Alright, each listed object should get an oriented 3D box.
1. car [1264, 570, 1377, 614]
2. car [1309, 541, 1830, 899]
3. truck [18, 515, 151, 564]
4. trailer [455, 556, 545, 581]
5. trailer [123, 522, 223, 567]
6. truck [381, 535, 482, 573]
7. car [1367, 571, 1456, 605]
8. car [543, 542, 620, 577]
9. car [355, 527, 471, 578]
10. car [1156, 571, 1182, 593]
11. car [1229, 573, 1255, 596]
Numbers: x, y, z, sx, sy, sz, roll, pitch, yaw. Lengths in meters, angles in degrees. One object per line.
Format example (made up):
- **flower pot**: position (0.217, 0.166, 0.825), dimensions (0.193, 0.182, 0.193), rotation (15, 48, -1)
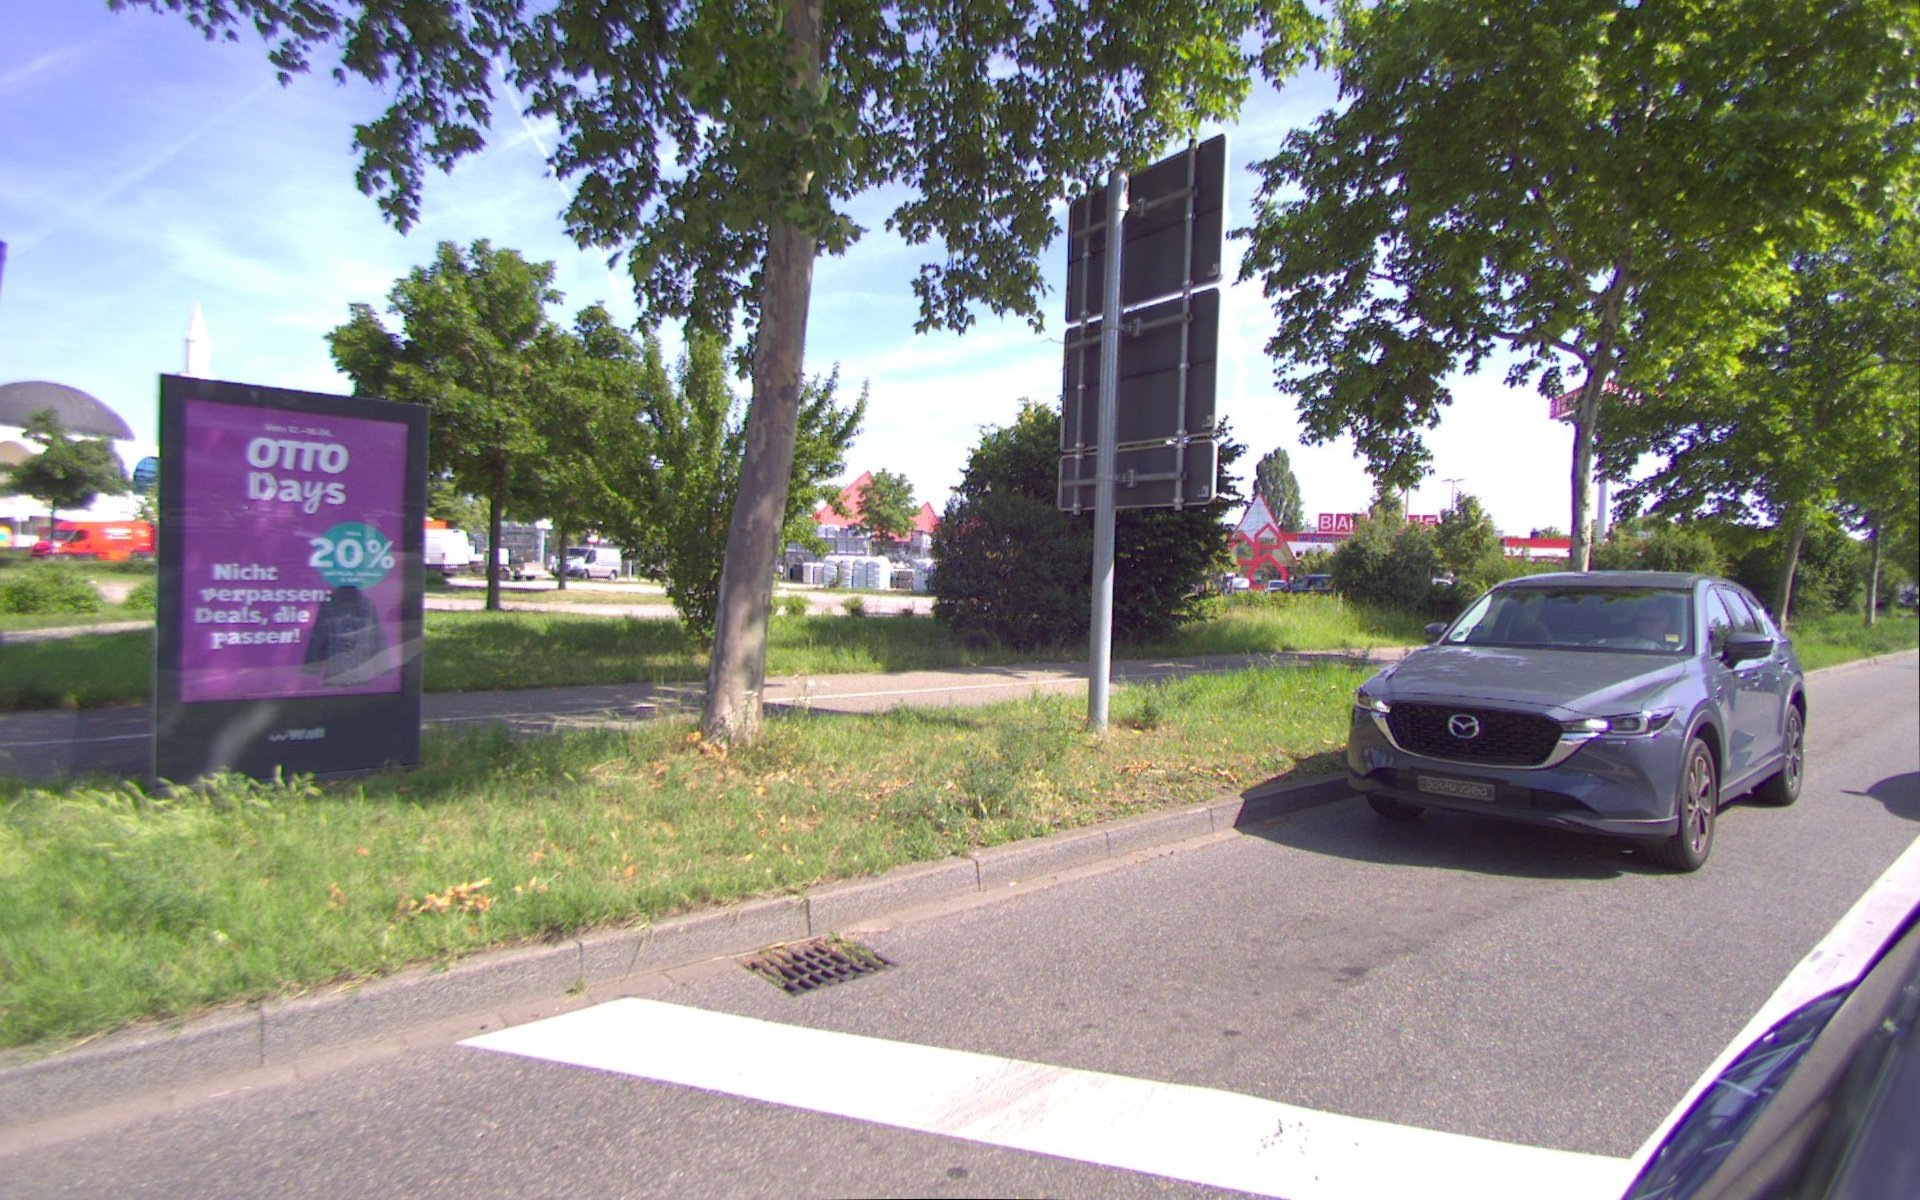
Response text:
- **car**: position (14.510, -0.334, 40.827), dimensions (3.851, 1.604, 1.820), rotation (3, 2, 44)
- **car**: position (4.340, 0.546, 6.876), dimensions (4.417, 1.680, 1.769), rotation (0, 0, -41)
- **truck**: position (-51.756, -3.534, 60.016), dimensions (1.988, 2.642, 6.010), rotation (2, 1, 12)
- **trailer**: position (-24.301, -1.688, 53.472), dimensions (3.975, 1.135, 2.060), rotation (2, 4, 16)
- **trailer**: position (-46.040, -3.233, 59.333), dimensions (1.728, 2.406, 4.387), rotation (3, 1, 18)
- **truck**: position (-32.410, -2.792, 62.321), dimensions (2.038, 2.166, 5.835), rotation (2, 2, 17)
- **car**: position (23.099, -0.633, 51.948), dimensions (3.802, 1.604, 1.843), rotation (2, 2, 12)
- **car**: position (-22.135, -2.330, 59.394), dimensions (1.846, 1.838, 4.813), rotation (3, 1, 12)
- **car**: position (-29.640, -2.599, 54.841), dimensions (5.602, 2.572, 2.013), rotation (2, 3, 13)
- **car**: position (15.587, -1.361, 75.406), dimensions (1.665, 1.593, 3.984), rotation (2, 2, 14)
- **car**: position (20.503, -1.129, 73.688), dimensions (1.665, 1.593, 3.984), rotation (2, 2, 14)
